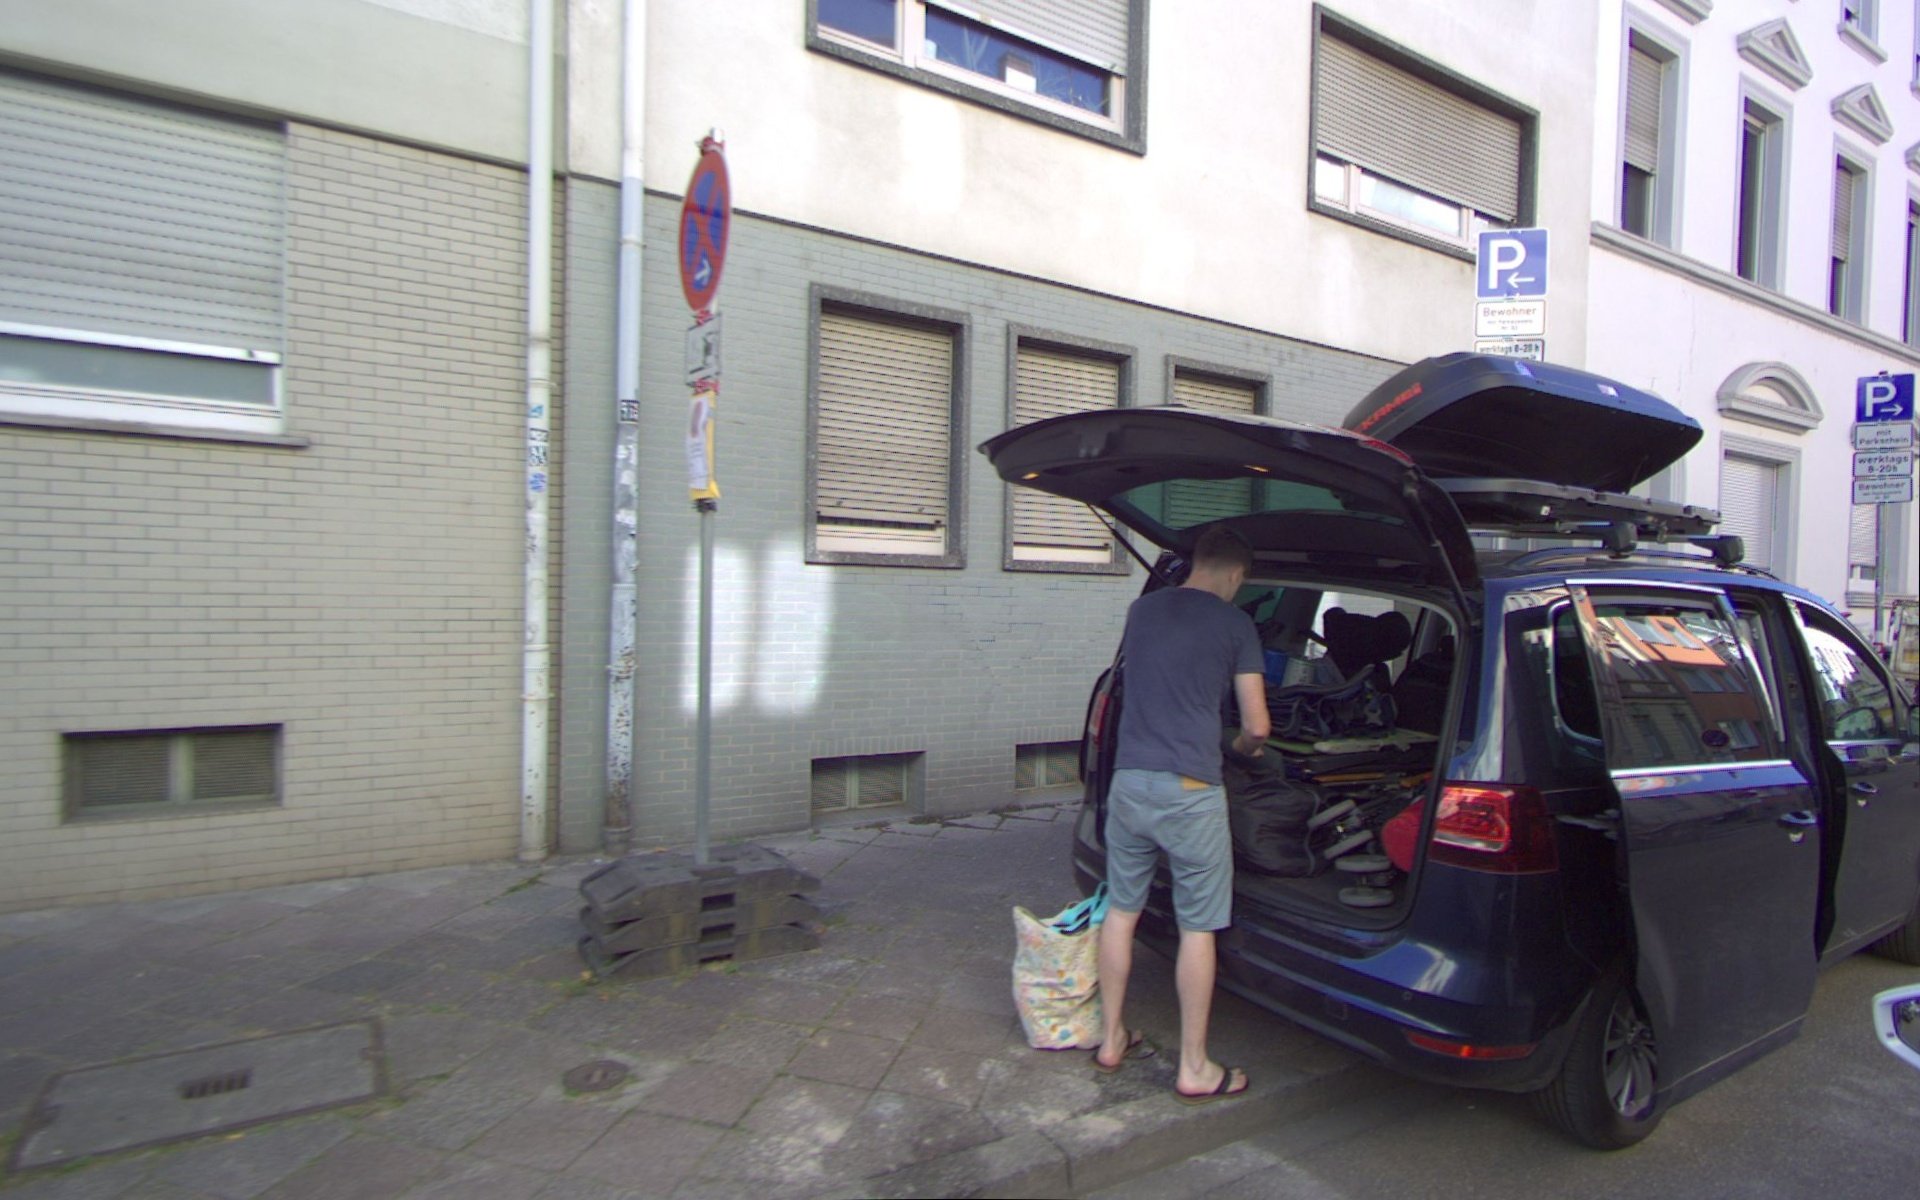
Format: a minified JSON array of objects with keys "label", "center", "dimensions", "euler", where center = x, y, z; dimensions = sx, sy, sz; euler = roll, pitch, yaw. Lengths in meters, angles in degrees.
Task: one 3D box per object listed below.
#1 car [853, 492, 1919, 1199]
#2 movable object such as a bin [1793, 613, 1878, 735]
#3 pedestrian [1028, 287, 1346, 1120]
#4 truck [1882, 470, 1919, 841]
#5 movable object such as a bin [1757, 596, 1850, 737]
[{"label":"car","center":[2.416,0.669,4.272],"dimensions":[5.182,1.729,2.429],"euler":[1,1,-31]},{"label":"movable object such as a bin","center":[10.303,0.851,11.822],"dimensions":[0.625,1.378,0.559],"euler":[1,1,-30]},{"label":"pedestrian","center":[0.703,0.288,3.166],"dimensions":[0.680,2.258,0.616],"euler":[2,0,-30]},{"label":"truck","center":[9.810,0.435,8.188],"dimensions":[6.188,2.624,2.143],"euler":[1,-2,-36]},{"label":"movable object such as a bin","center":[9.682,0.741,11.533],"dimensions":[0.580,1.553,0.636],"euler":[1,1,-30]}]
